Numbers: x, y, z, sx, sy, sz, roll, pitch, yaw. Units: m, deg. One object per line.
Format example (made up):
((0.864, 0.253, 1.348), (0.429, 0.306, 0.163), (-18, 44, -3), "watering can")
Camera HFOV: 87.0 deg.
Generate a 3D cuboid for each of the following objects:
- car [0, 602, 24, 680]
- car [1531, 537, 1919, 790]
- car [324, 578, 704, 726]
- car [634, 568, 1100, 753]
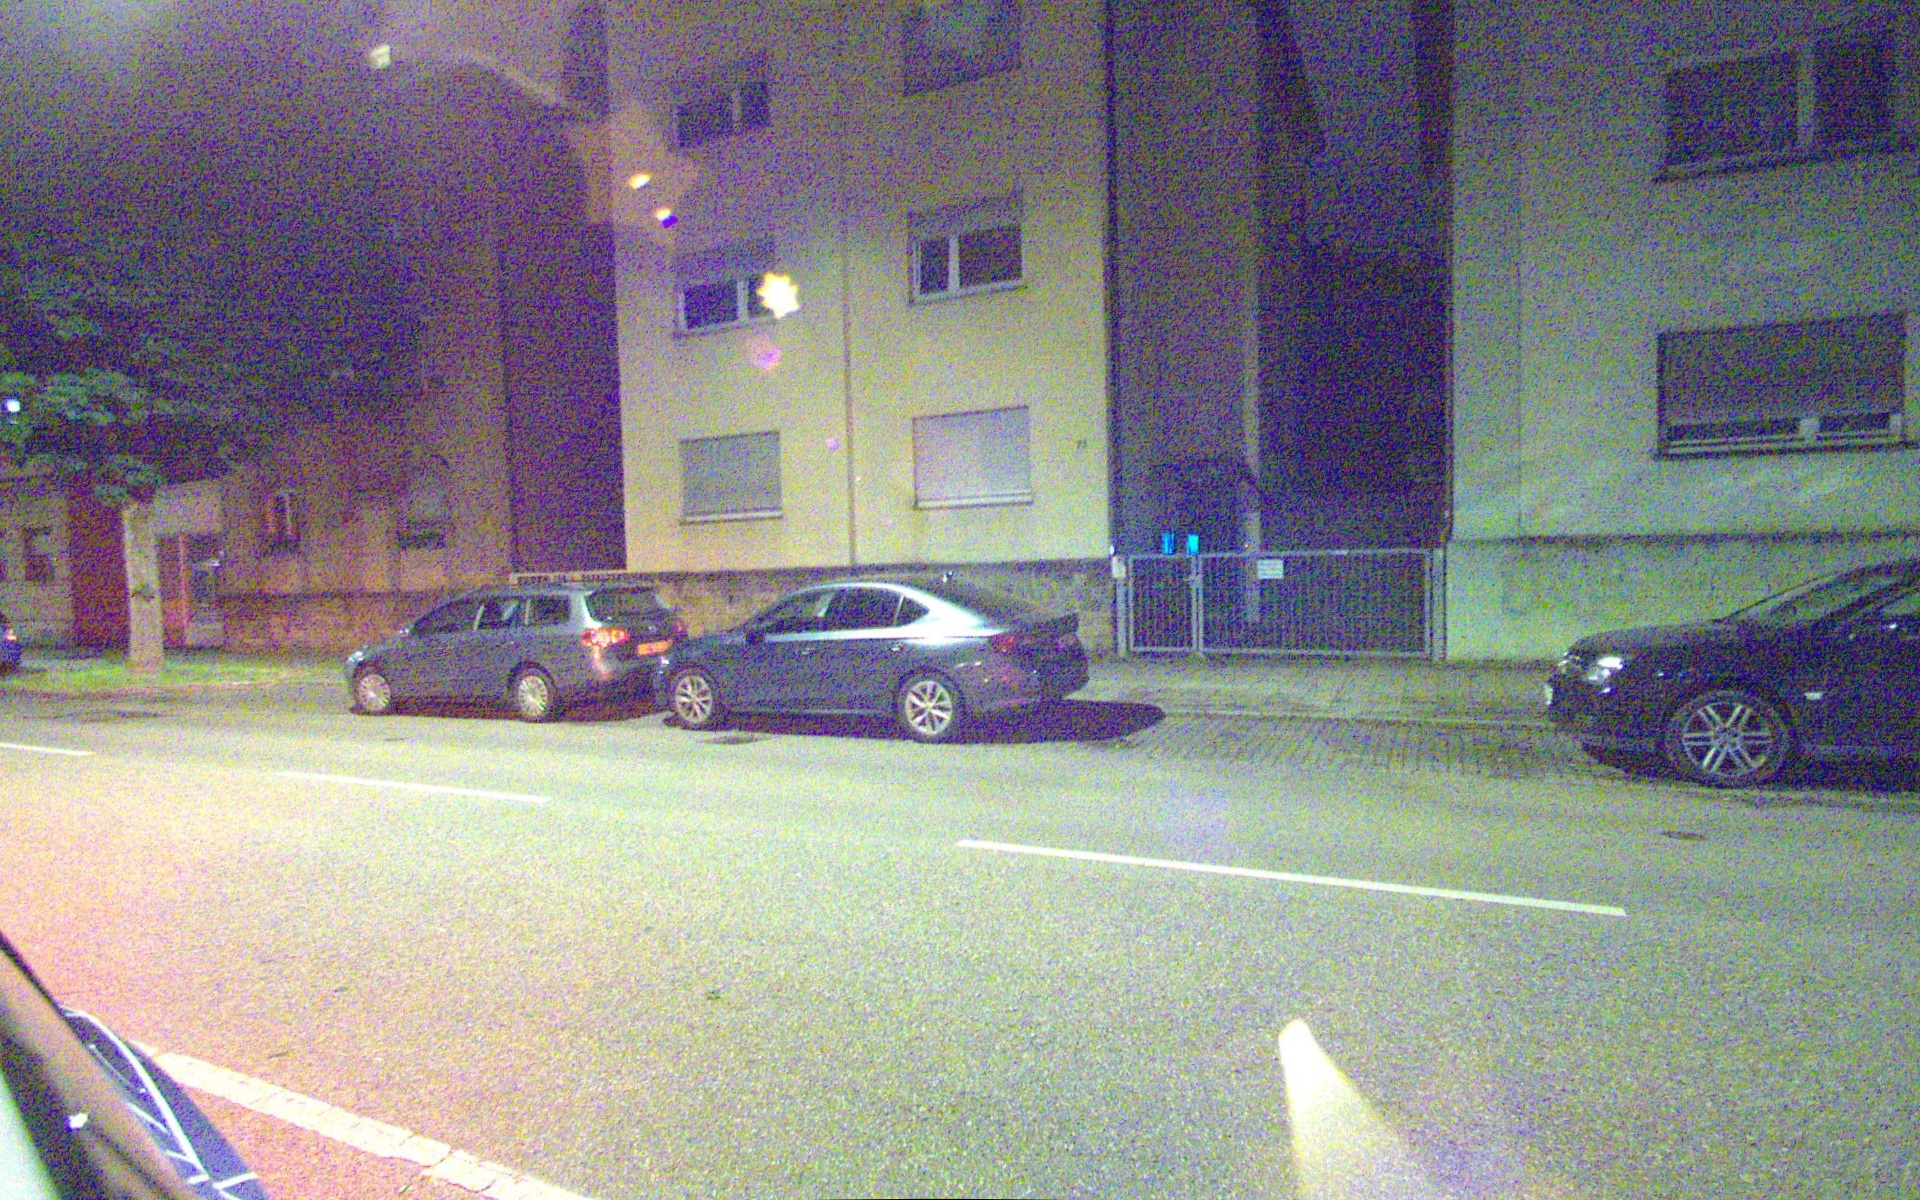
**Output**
((-19.940, 0.815, 19.521), (3.496, 1.475, 1.619), (-1, 1, 26), "car")
((6.335, 0.328, 6.567), (4.377, 1.444, 1.852), (-1, 3, 24), "car")
((-5.329, 0.556, 12.044), (4.324, 1.444, 1.631), (-1, 3, 25), "car")
((-0.955, 0.510, 9.877), (4.323, 1.444, 1.544), (-1, 3, 26), "car")
